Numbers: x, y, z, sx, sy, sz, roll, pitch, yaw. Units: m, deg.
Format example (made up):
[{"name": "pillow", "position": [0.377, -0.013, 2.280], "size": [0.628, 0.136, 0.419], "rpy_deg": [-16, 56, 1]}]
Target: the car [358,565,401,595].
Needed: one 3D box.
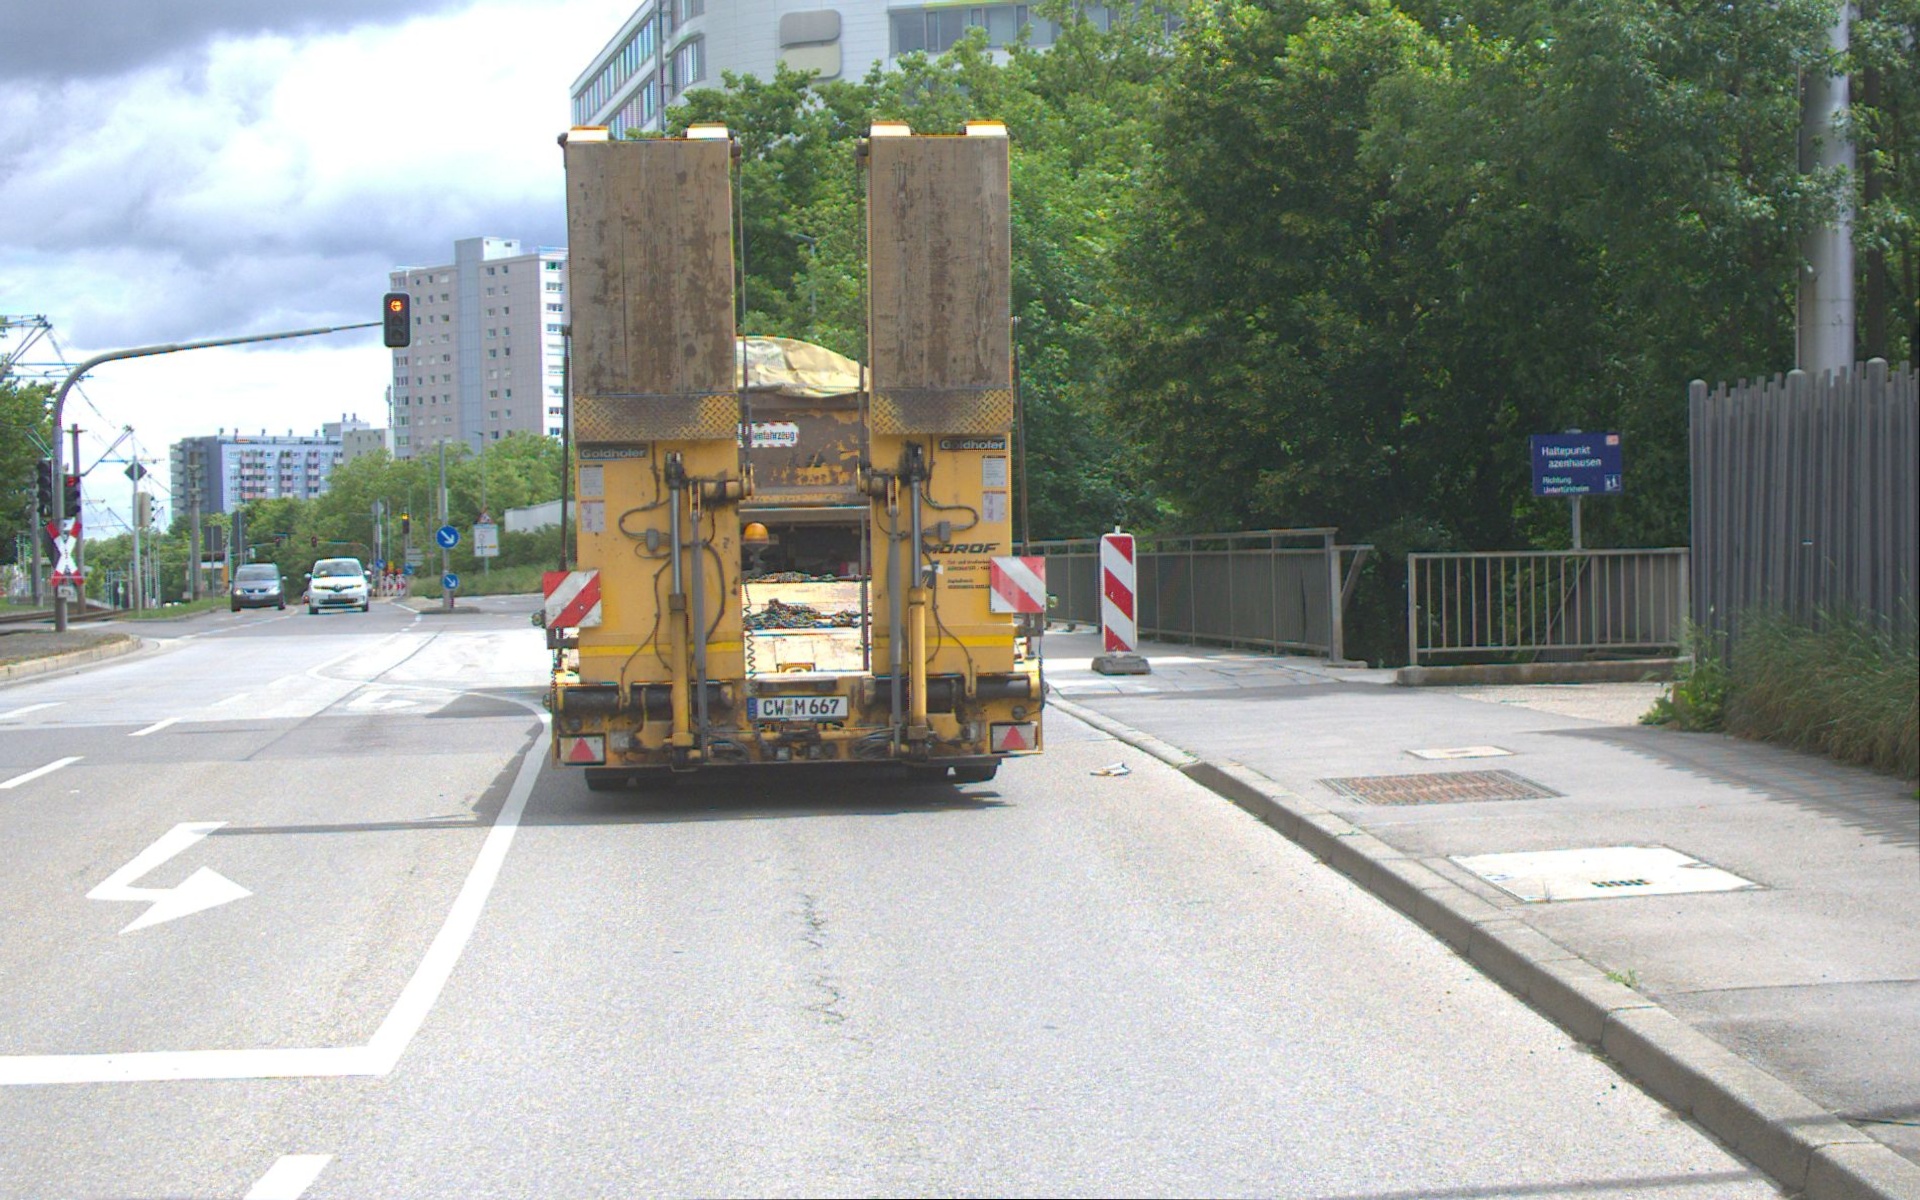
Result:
[{"name": "car", "position": [-27.545, -0.947, 163.259], "size": [1.993, 1.415, 4.001], "rpy_deg": [0, 0, -9]}]

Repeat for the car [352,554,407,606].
[{"name": "car", "position": [-22.025, -0.774, 130.604], "size": [1.993, 1.919, 4.001], "rpy_deg": [0, 0, -9]}]

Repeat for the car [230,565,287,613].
[{"name": "car", "position": [-24.176, -0.382, 118.546], "size": [1.783, 1.564, 4.346], "rpy_deg": [-2, 0, -10]}]

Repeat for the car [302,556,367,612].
[{"name": "car", "position": [-17.818, -0.464, 97.992], "size": [1.593, 1.521, 3.656], "rpy_deg": [-2, 0, -7]}]

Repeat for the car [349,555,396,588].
[{"name": "car", "position": [-26.193, -1.280, 153.348], "size": [1.993, 1.415, 4.001], "rpy_deg": [0, 0, -9]}]

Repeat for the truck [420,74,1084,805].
[{"name": "truck", "position": [-1.454, -0.841, 23.498], "size": [3.315, 3.638, 12.563], "rpy_deg": [0, 0, -4]}]
